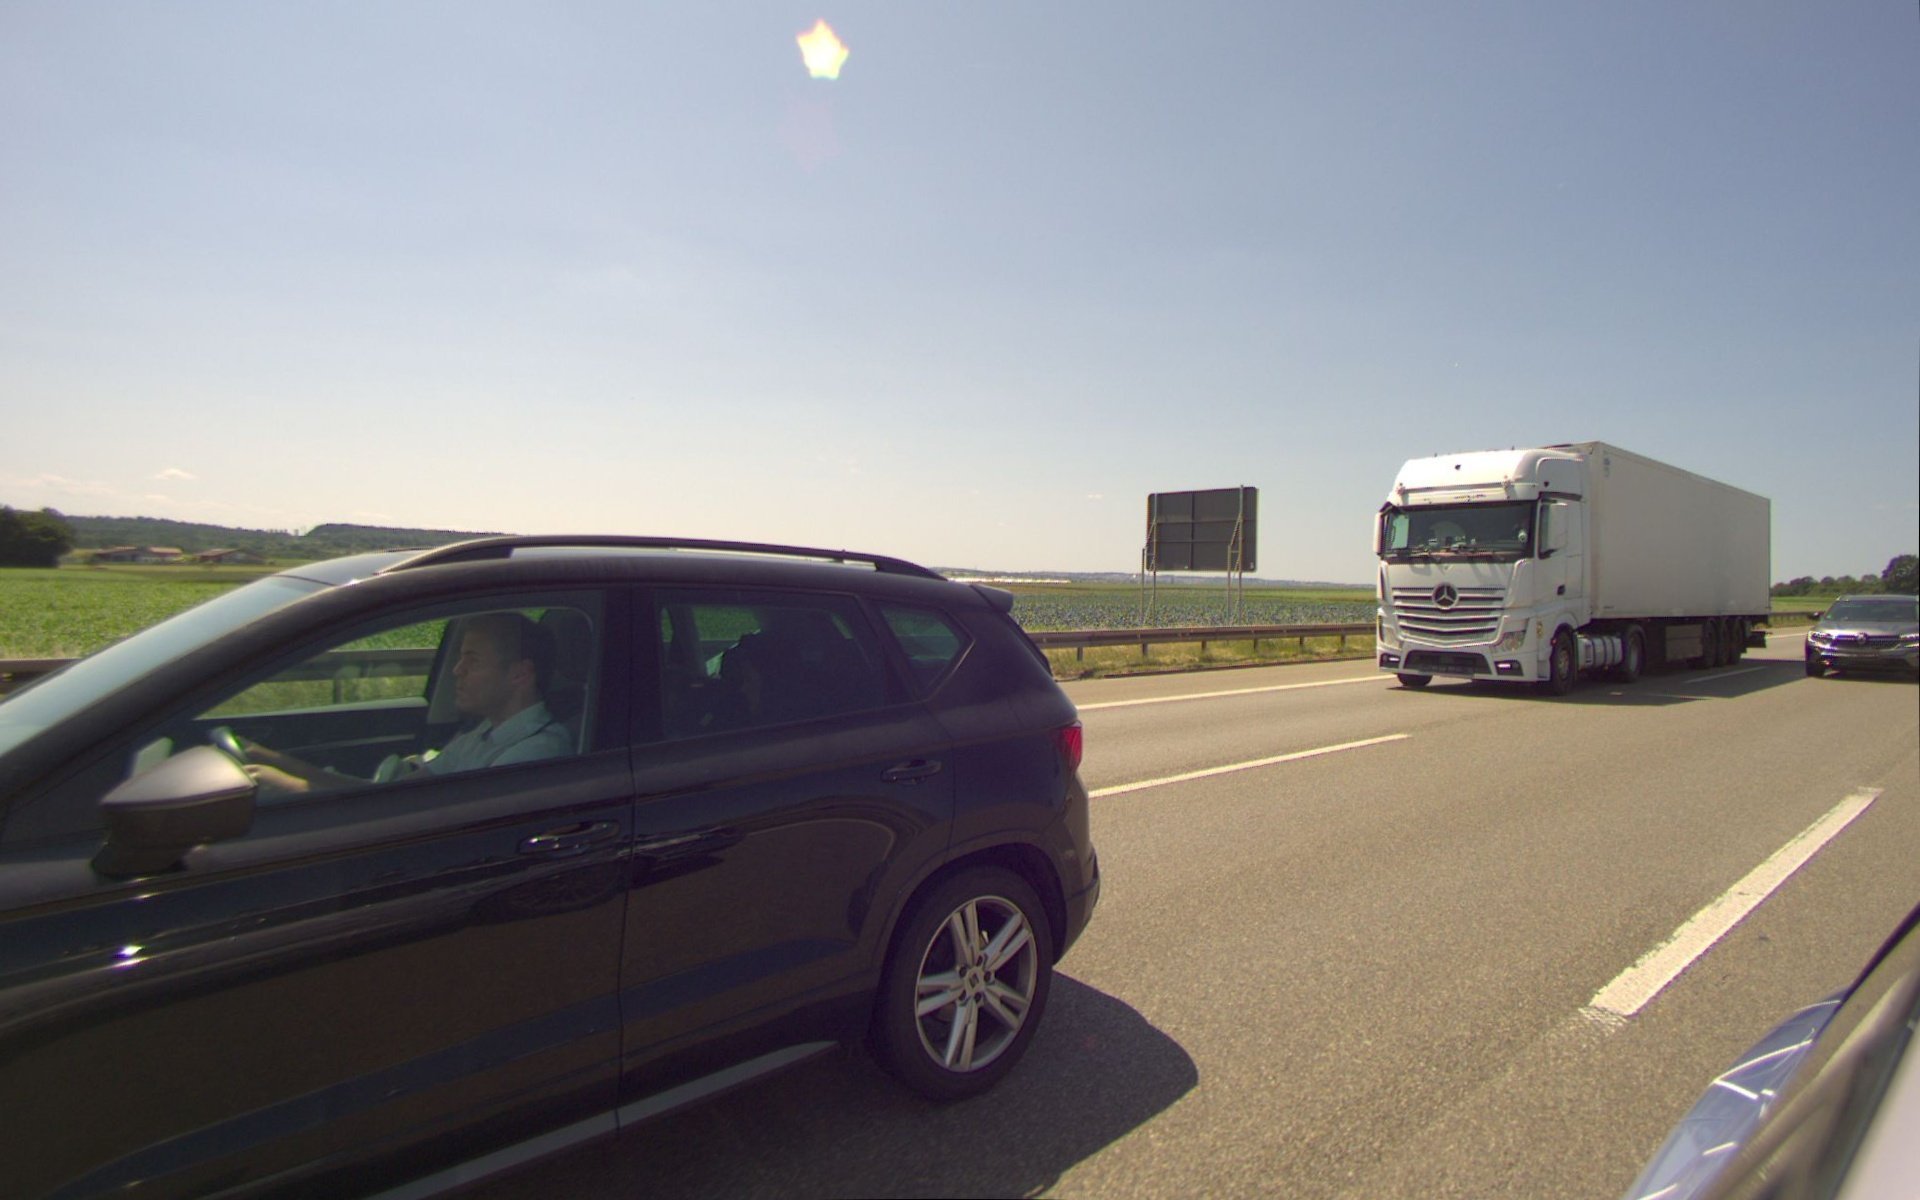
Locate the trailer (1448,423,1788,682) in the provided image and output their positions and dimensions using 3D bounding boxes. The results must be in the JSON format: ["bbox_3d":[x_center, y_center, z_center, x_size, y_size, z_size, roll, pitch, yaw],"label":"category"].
[{"bbox_3d":[14.924,-0.839,22.122,13.065,4.273,2.872,0,0,-42],"label":"trailer"}]

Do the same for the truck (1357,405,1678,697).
[{"bbox_3d":[9.914,-0.723,17.665,6.761,4.143,2.866,0,0,-42],"label":"truck"}]

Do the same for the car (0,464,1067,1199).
[{"bbox_3d":[-1.653,0.572,2.645,3.757,1.582,1.799,0,0,-41],"label":"car"}]

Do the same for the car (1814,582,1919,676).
[{"bbox_3d":[18.482,0.525,20.015,4.565,1.669,1.854,0,1,-42],"label":"car"}]
